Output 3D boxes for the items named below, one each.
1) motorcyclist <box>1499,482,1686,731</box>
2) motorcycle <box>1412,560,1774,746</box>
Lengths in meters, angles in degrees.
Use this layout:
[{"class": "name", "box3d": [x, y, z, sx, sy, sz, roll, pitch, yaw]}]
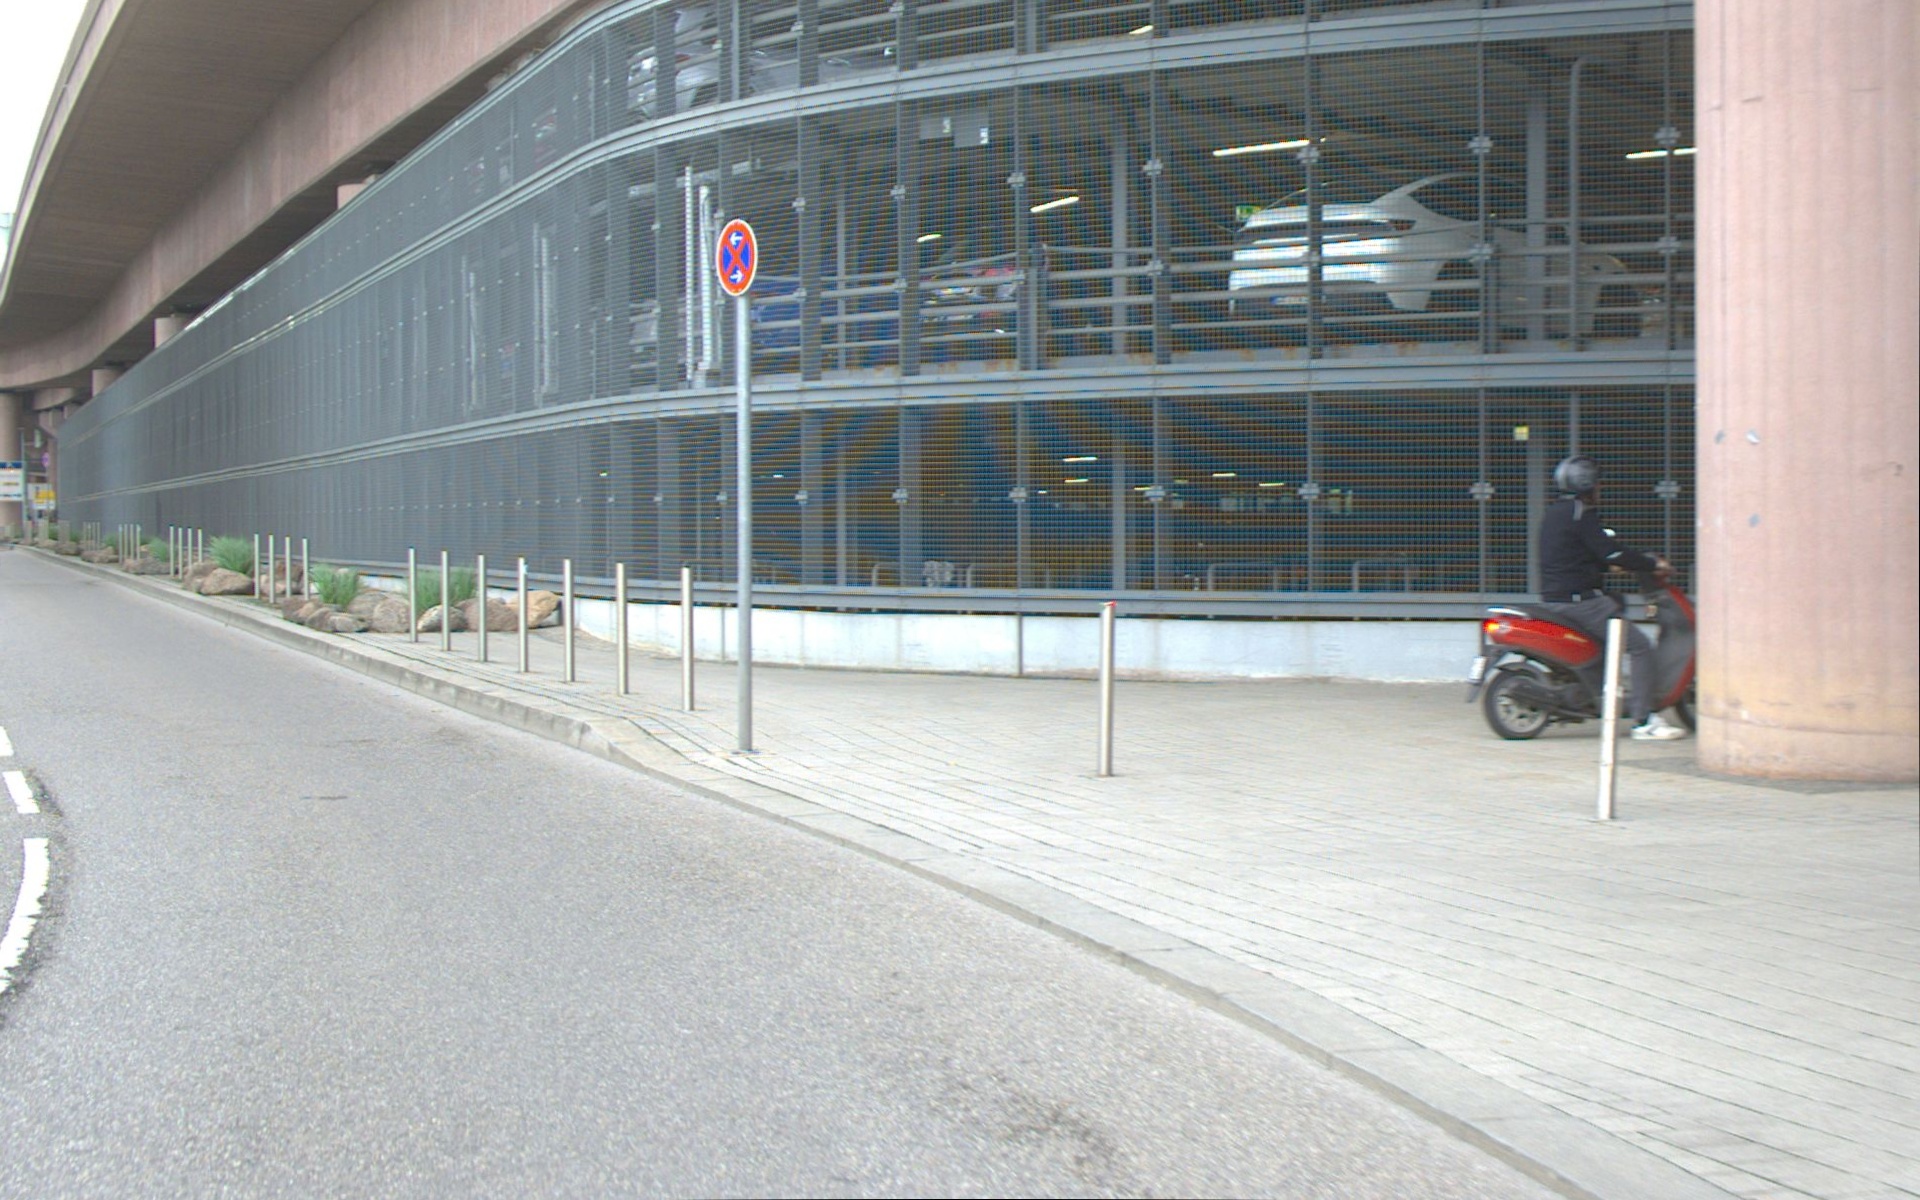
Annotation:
[{"class": "motorcyclist", "box3d": [3.707, 0.023, 20.196, 0.867, 1.414, 0.764, -1, 3, -9]}, {"class": "motorcycle", "box3d": [3.706, 0.300, 20.196, 1.949, 1.019, 0.749, -1, 3, -9]}]
